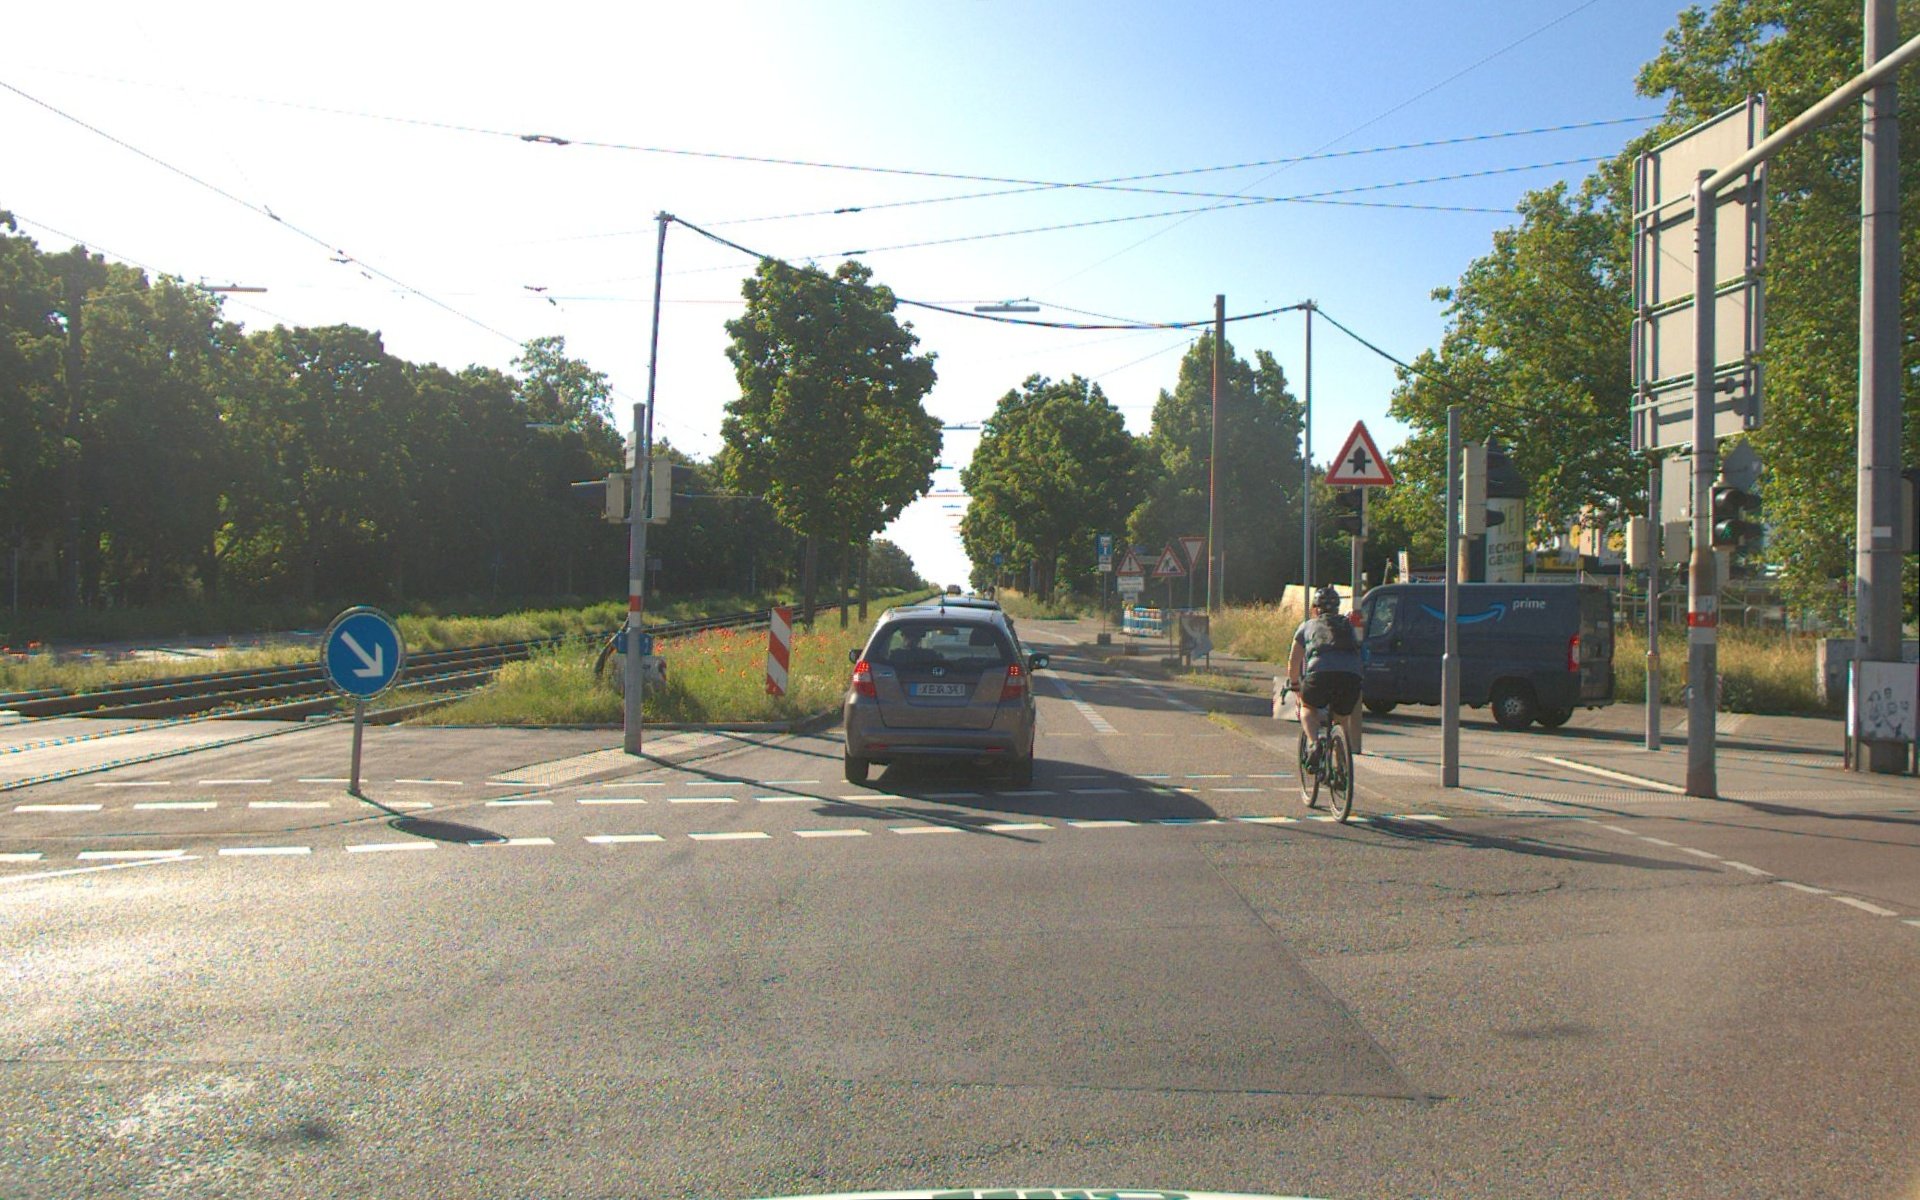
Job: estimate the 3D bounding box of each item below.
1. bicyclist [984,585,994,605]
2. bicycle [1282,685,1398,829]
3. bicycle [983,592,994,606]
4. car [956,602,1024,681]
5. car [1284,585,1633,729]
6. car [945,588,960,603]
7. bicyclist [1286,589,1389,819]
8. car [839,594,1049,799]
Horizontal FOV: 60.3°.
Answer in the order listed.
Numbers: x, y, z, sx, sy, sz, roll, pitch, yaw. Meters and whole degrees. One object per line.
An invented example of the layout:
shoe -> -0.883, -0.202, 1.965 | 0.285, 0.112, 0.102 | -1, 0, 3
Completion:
bicyclist -> 2.342, -0.416, 134.418 | 0.801, 1.551, 0.966 | 2, -2, 1
bicycle -> 2.922, 1.174, 12.872 | 0.513, 0.939, 2.090 | 0, -1, 3
bicycle -> 2.322, -0.063, 134.390 | 0.801, 1.066, 2.506 | 2, -2, 2
car -> 0.629, 0.840, 34.136 | 1.323, 1.554, 3.123 | 1, -1, 1
car -> 7.998, 0.842, 26.694 | 5.012, 2.106, 2.124 | 1, -1, 33
car -> -1.079, -0.671, 235.298 | 1.952, 2.049, 4.000 | 0, -1, 1
bicyclist -> 2.913, 0.780, 12.819 | 0.602, 1.709, 0.933 | 1, -1, 2
car -> -0.066, 0.774, 15.265 | 1.636, 1.541, 3.675 | 3, 1, 2
